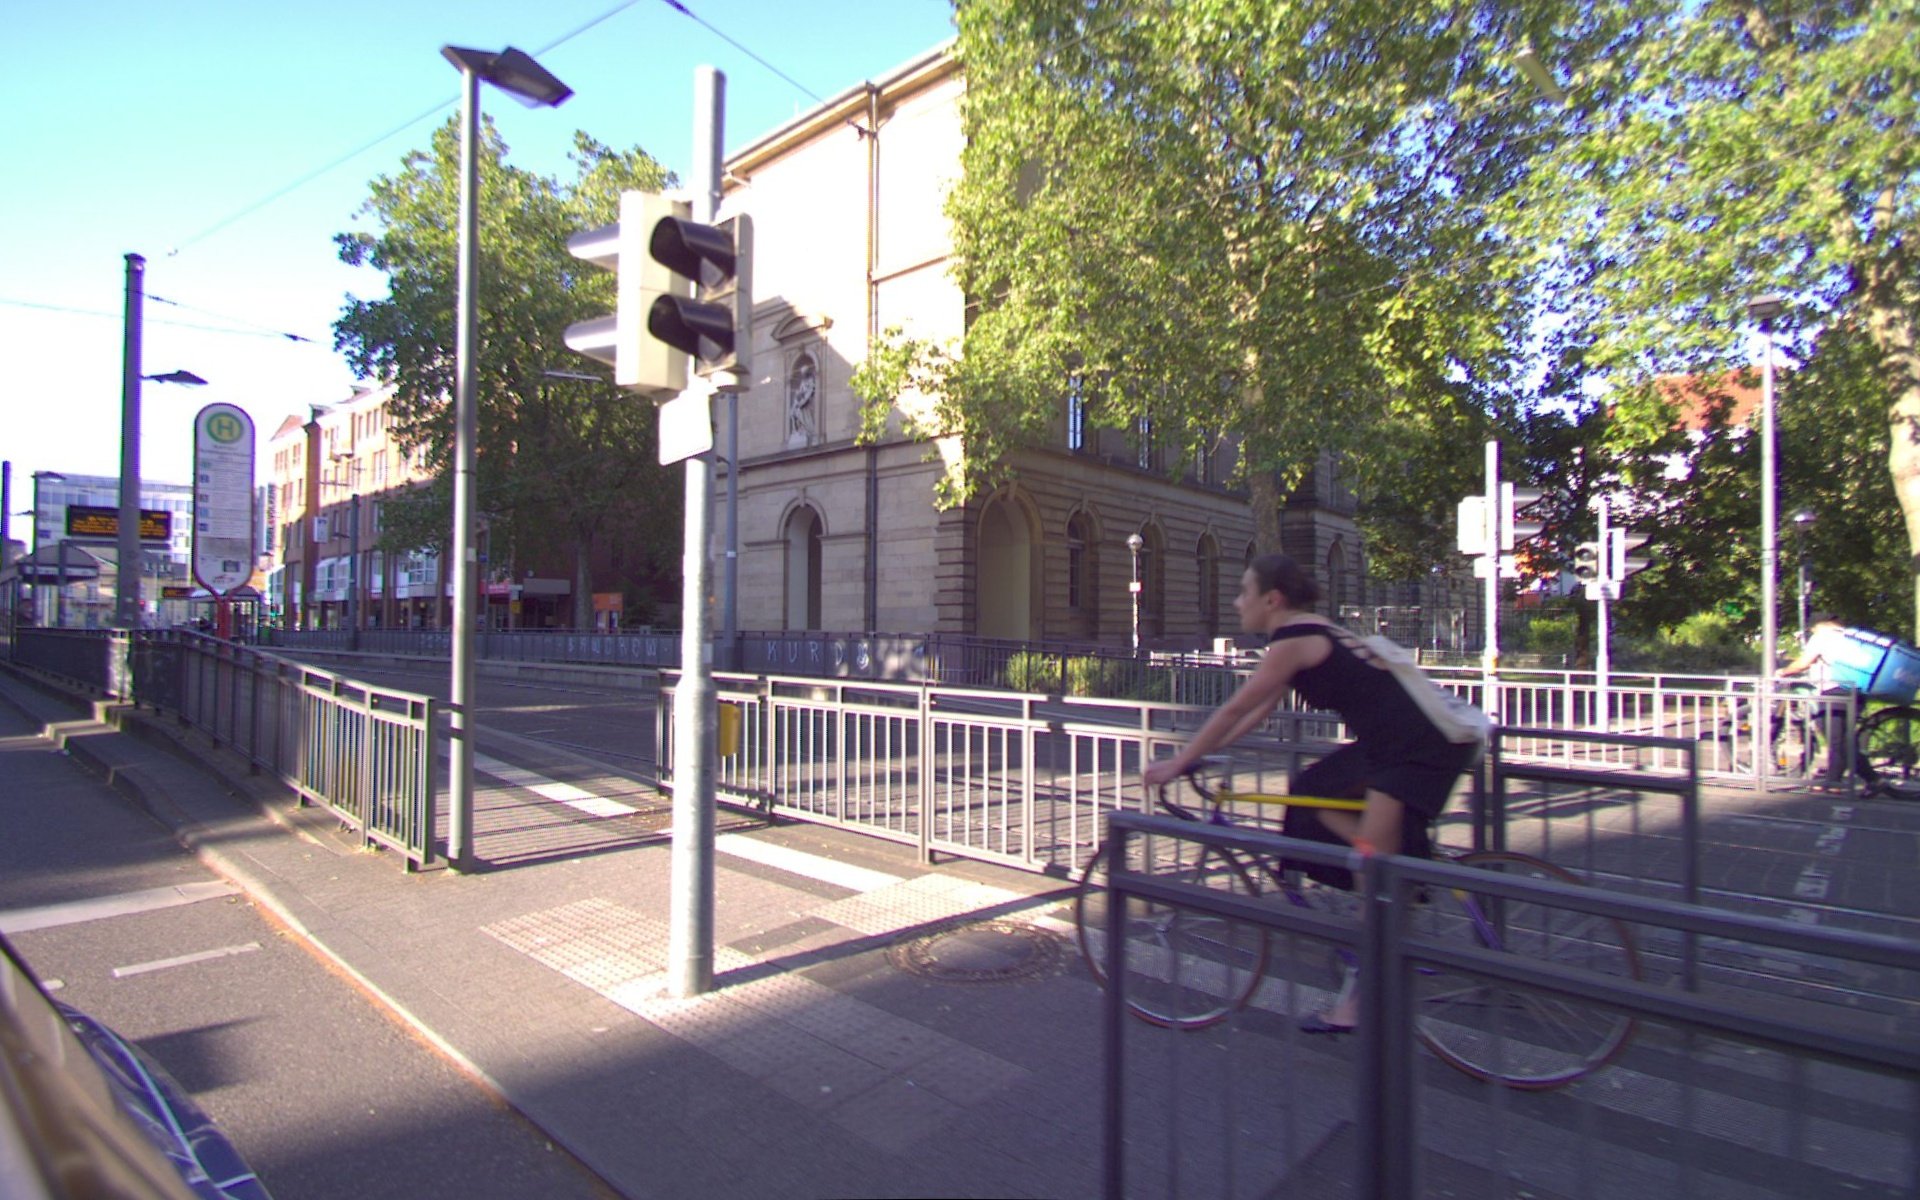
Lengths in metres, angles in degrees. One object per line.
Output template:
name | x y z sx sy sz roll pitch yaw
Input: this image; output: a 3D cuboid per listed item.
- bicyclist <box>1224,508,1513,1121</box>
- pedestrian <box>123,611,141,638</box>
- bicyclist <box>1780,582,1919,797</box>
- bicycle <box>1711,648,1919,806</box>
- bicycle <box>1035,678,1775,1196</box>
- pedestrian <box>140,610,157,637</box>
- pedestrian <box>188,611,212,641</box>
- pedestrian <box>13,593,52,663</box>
bicyclist | 1.238 0.563 3.056 0.742 1.590 0.528 -1 -2 30
pedestrian | -55.830 1.652 68.245 0.847 1.780 0.813 -1 1 -39
bicyclist | 7.482 0.725 8.508 0.526 1.725 0.746 0 -2 -2
bicycle | 7.468 1.019 8.698 0.576 1.086 1.900 -1 1 -1
bicycle | 1.207 0.831 3.070 1.893 1.086 0.578 -1 0 32
pedestrian | -55.149 1.616 68.803 0.847 1.780 0.813 -1 1 -39
pedestrian | -42.555 1.457 56.670 0.967 1.674 0.901 -1 -2 42
pedestrian | -23.045 0.692 25.146 0.850 1.725 0.615 -1 -2 43
